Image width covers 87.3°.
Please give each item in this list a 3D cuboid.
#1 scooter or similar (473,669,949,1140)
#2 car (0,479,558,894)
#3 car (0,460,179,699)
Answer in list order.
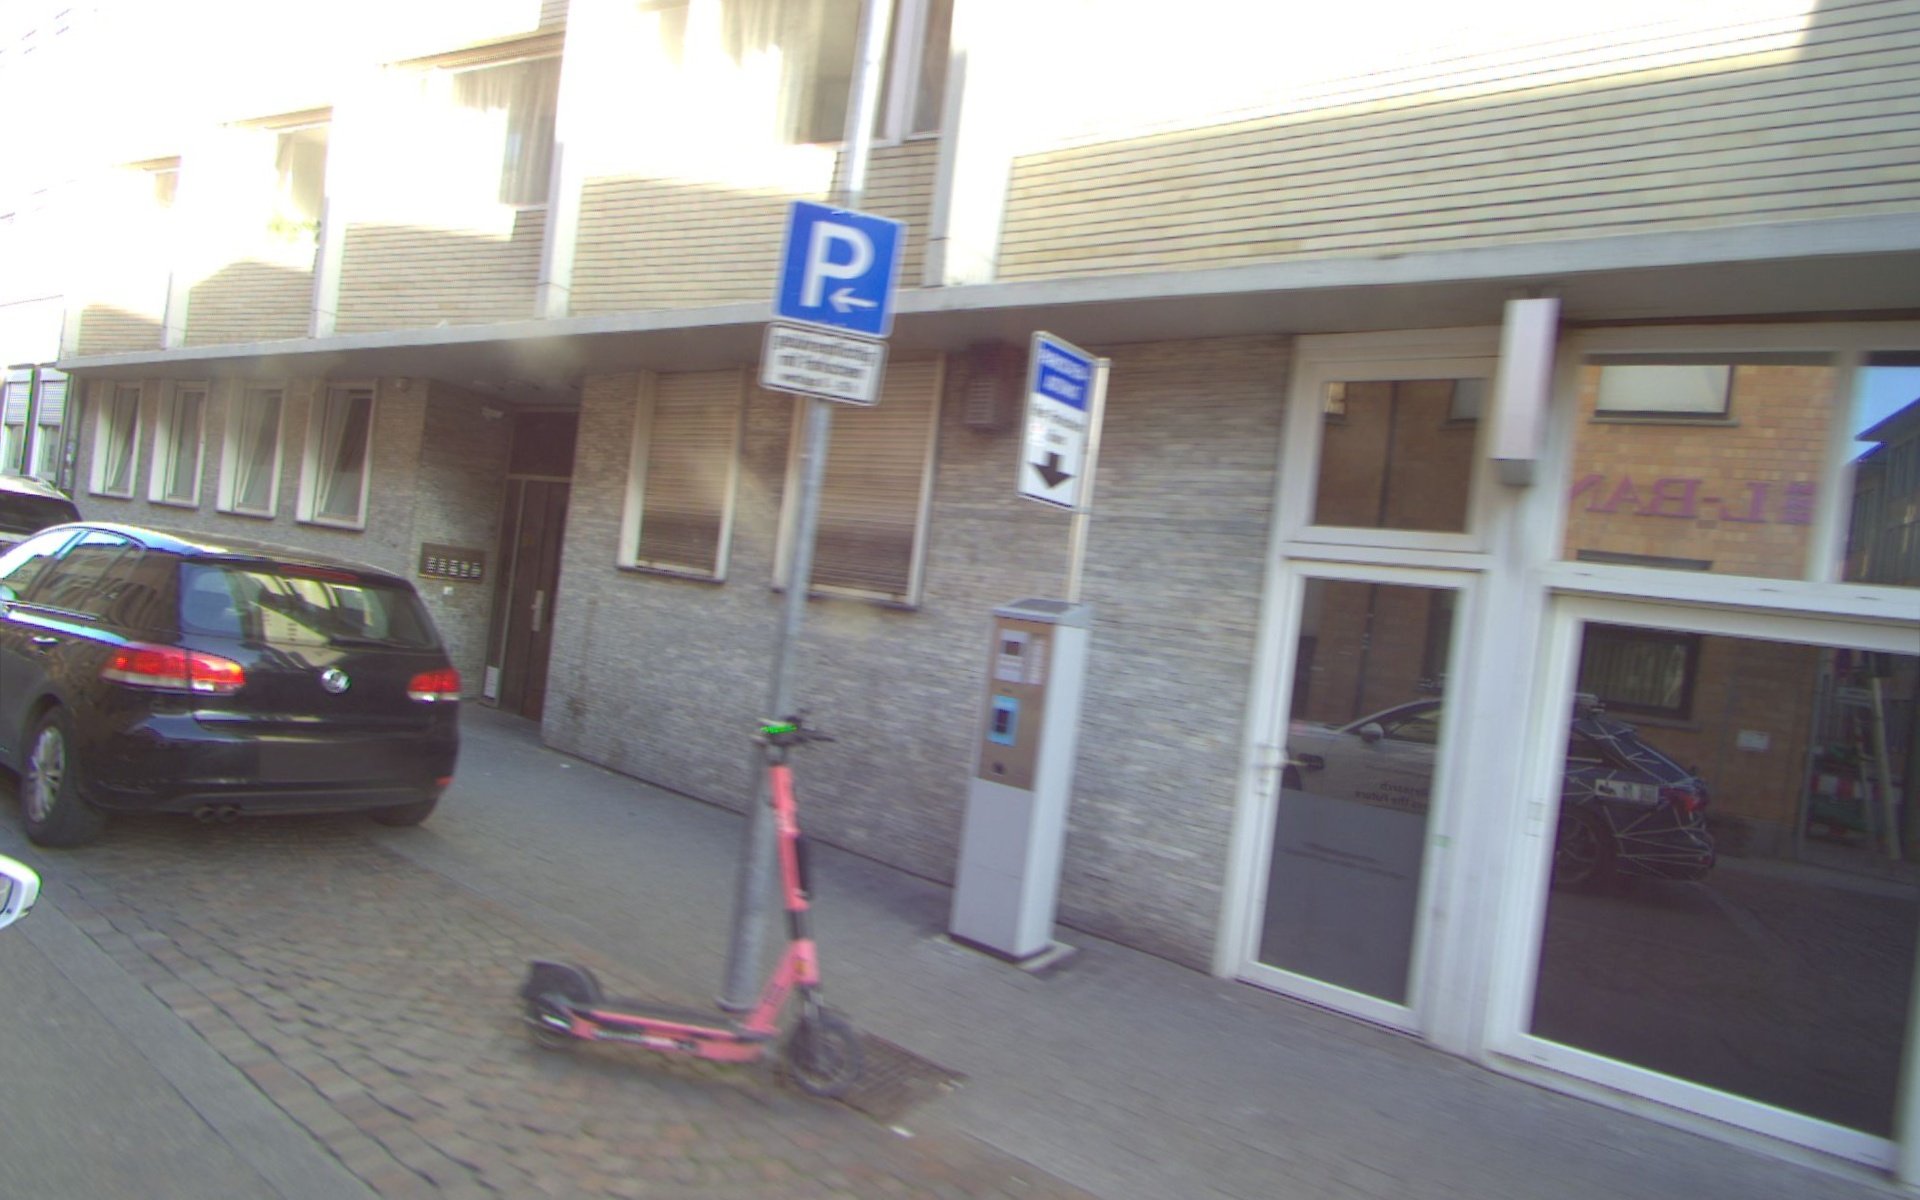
[{"bbox_3d":[-0.771,0.926,3.287,1.282,1.208,0.494,8,0,5],"label":"scooter or similar"},{"bbox_3d":[-4.619,0.243,5.885,4.525,1.521,1.827,8,-3,34],"label":"car"},{"bbox_3d":[-9.056,-0.416,8.761,4.765,1.721,1.998,8,-2,34],"label":"car"}]
